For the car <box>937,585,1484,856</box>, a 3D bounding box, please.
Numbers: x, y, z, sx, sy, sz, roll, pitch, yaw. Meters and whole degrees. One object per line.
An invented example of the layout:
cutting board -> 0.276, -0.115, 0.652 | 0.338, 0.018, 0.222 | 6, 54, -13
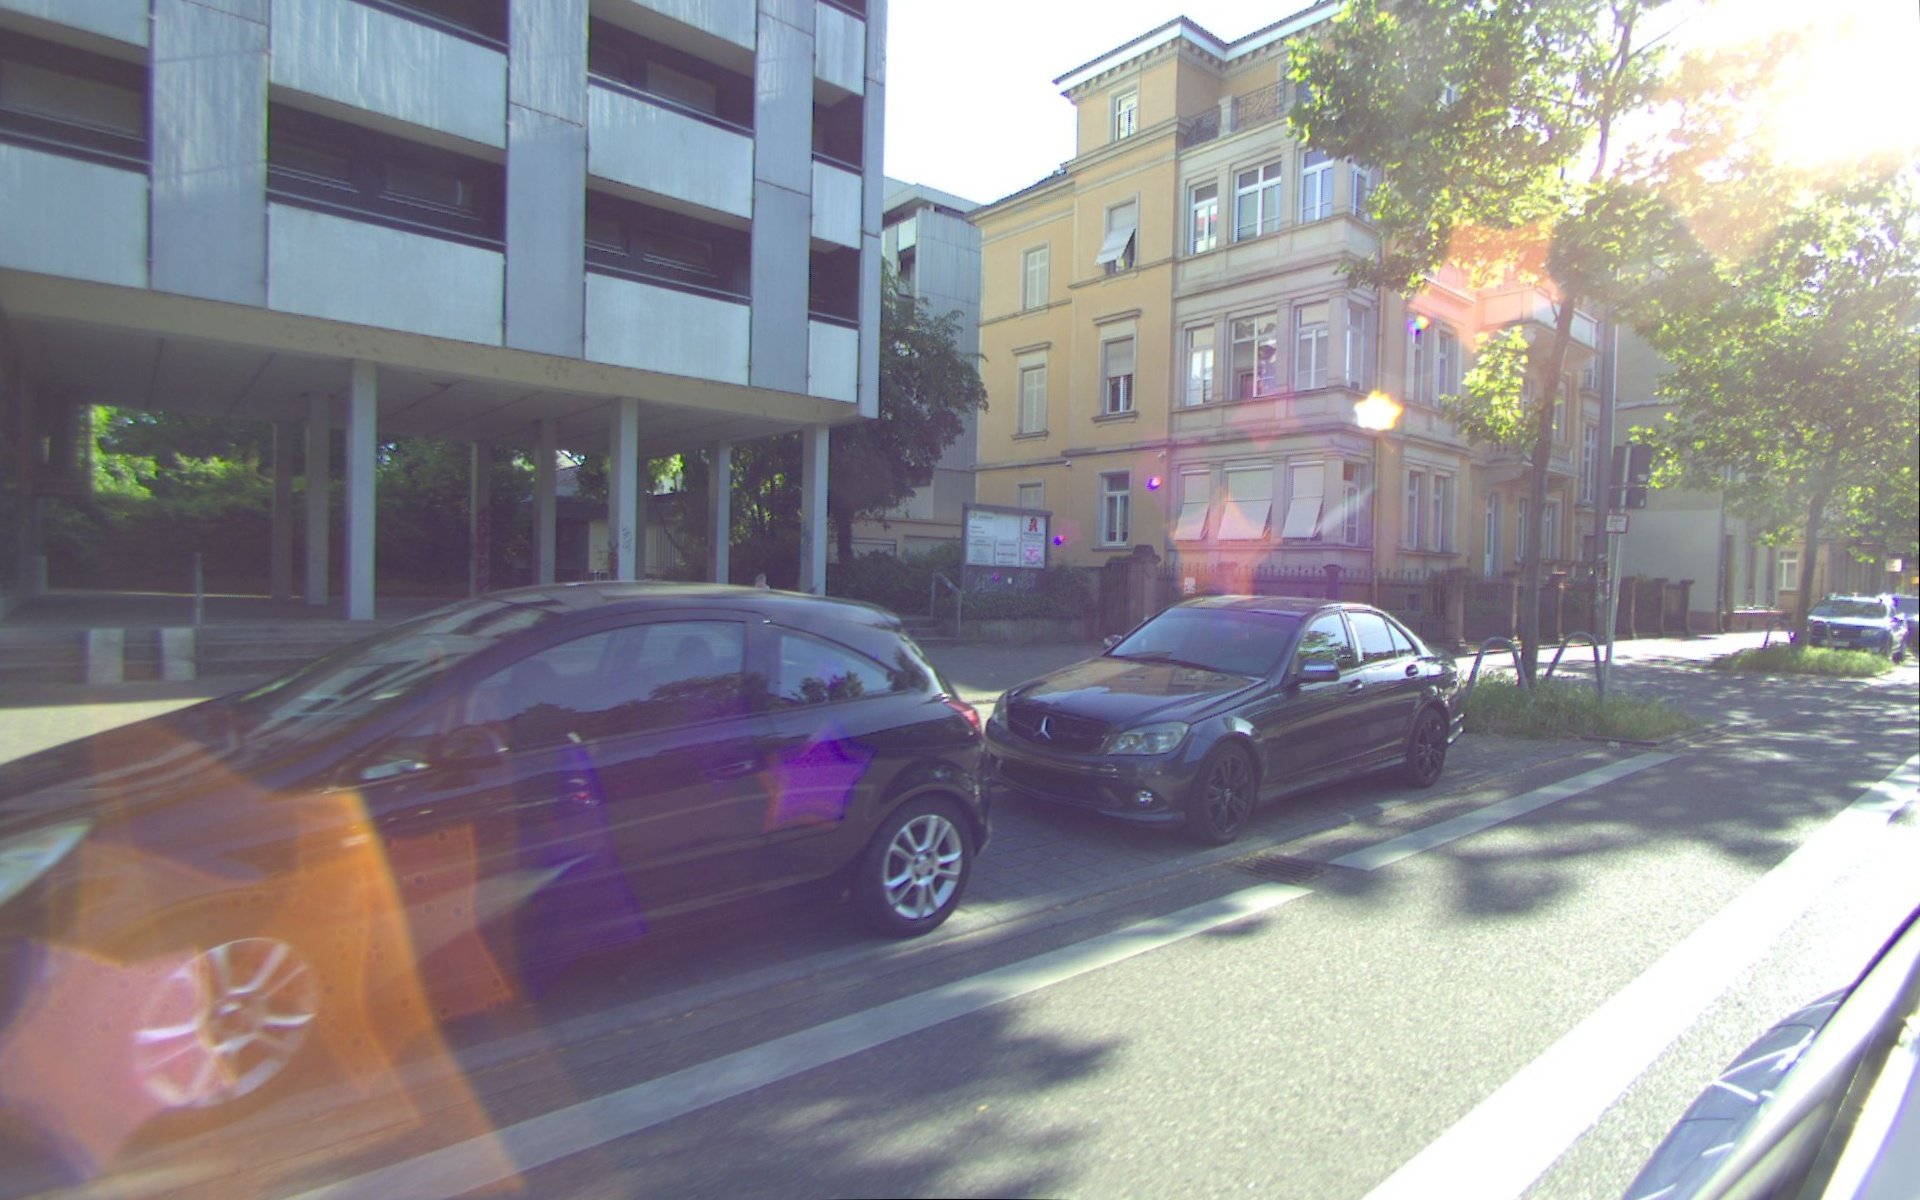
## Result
car -> 2.014, 0.615, 7.379 | 4.201, 1.399, 1.780 | 0, 2, -41

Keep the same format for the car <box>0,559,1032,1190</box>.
car -> -1.676, 0.623, 3.976 | 3.861, 1.459, 1.629 | 0, 3, -41

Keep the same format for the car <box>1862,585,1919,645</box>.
car -> 28.609, 0.426, 30.337 | 4.199, 1.697, 1.838 | 0, 1, -41

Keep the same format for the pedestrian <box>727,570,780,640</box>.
pedestrian -> -3.467, 0.077, 16.970 | 0.672, 1.123, 0.560 | 0, 2, -40

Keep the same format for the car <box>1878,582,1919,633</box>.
car -> 33.980, 0.265, 35.682 | 4.199, 1.696, 1.838 | 0, 2, -41

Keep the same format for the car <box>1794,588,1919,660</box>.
car -> 21.728, 0.510, 24.383 | 4.199, 1.584, 1.838 | 0, 1, -41
